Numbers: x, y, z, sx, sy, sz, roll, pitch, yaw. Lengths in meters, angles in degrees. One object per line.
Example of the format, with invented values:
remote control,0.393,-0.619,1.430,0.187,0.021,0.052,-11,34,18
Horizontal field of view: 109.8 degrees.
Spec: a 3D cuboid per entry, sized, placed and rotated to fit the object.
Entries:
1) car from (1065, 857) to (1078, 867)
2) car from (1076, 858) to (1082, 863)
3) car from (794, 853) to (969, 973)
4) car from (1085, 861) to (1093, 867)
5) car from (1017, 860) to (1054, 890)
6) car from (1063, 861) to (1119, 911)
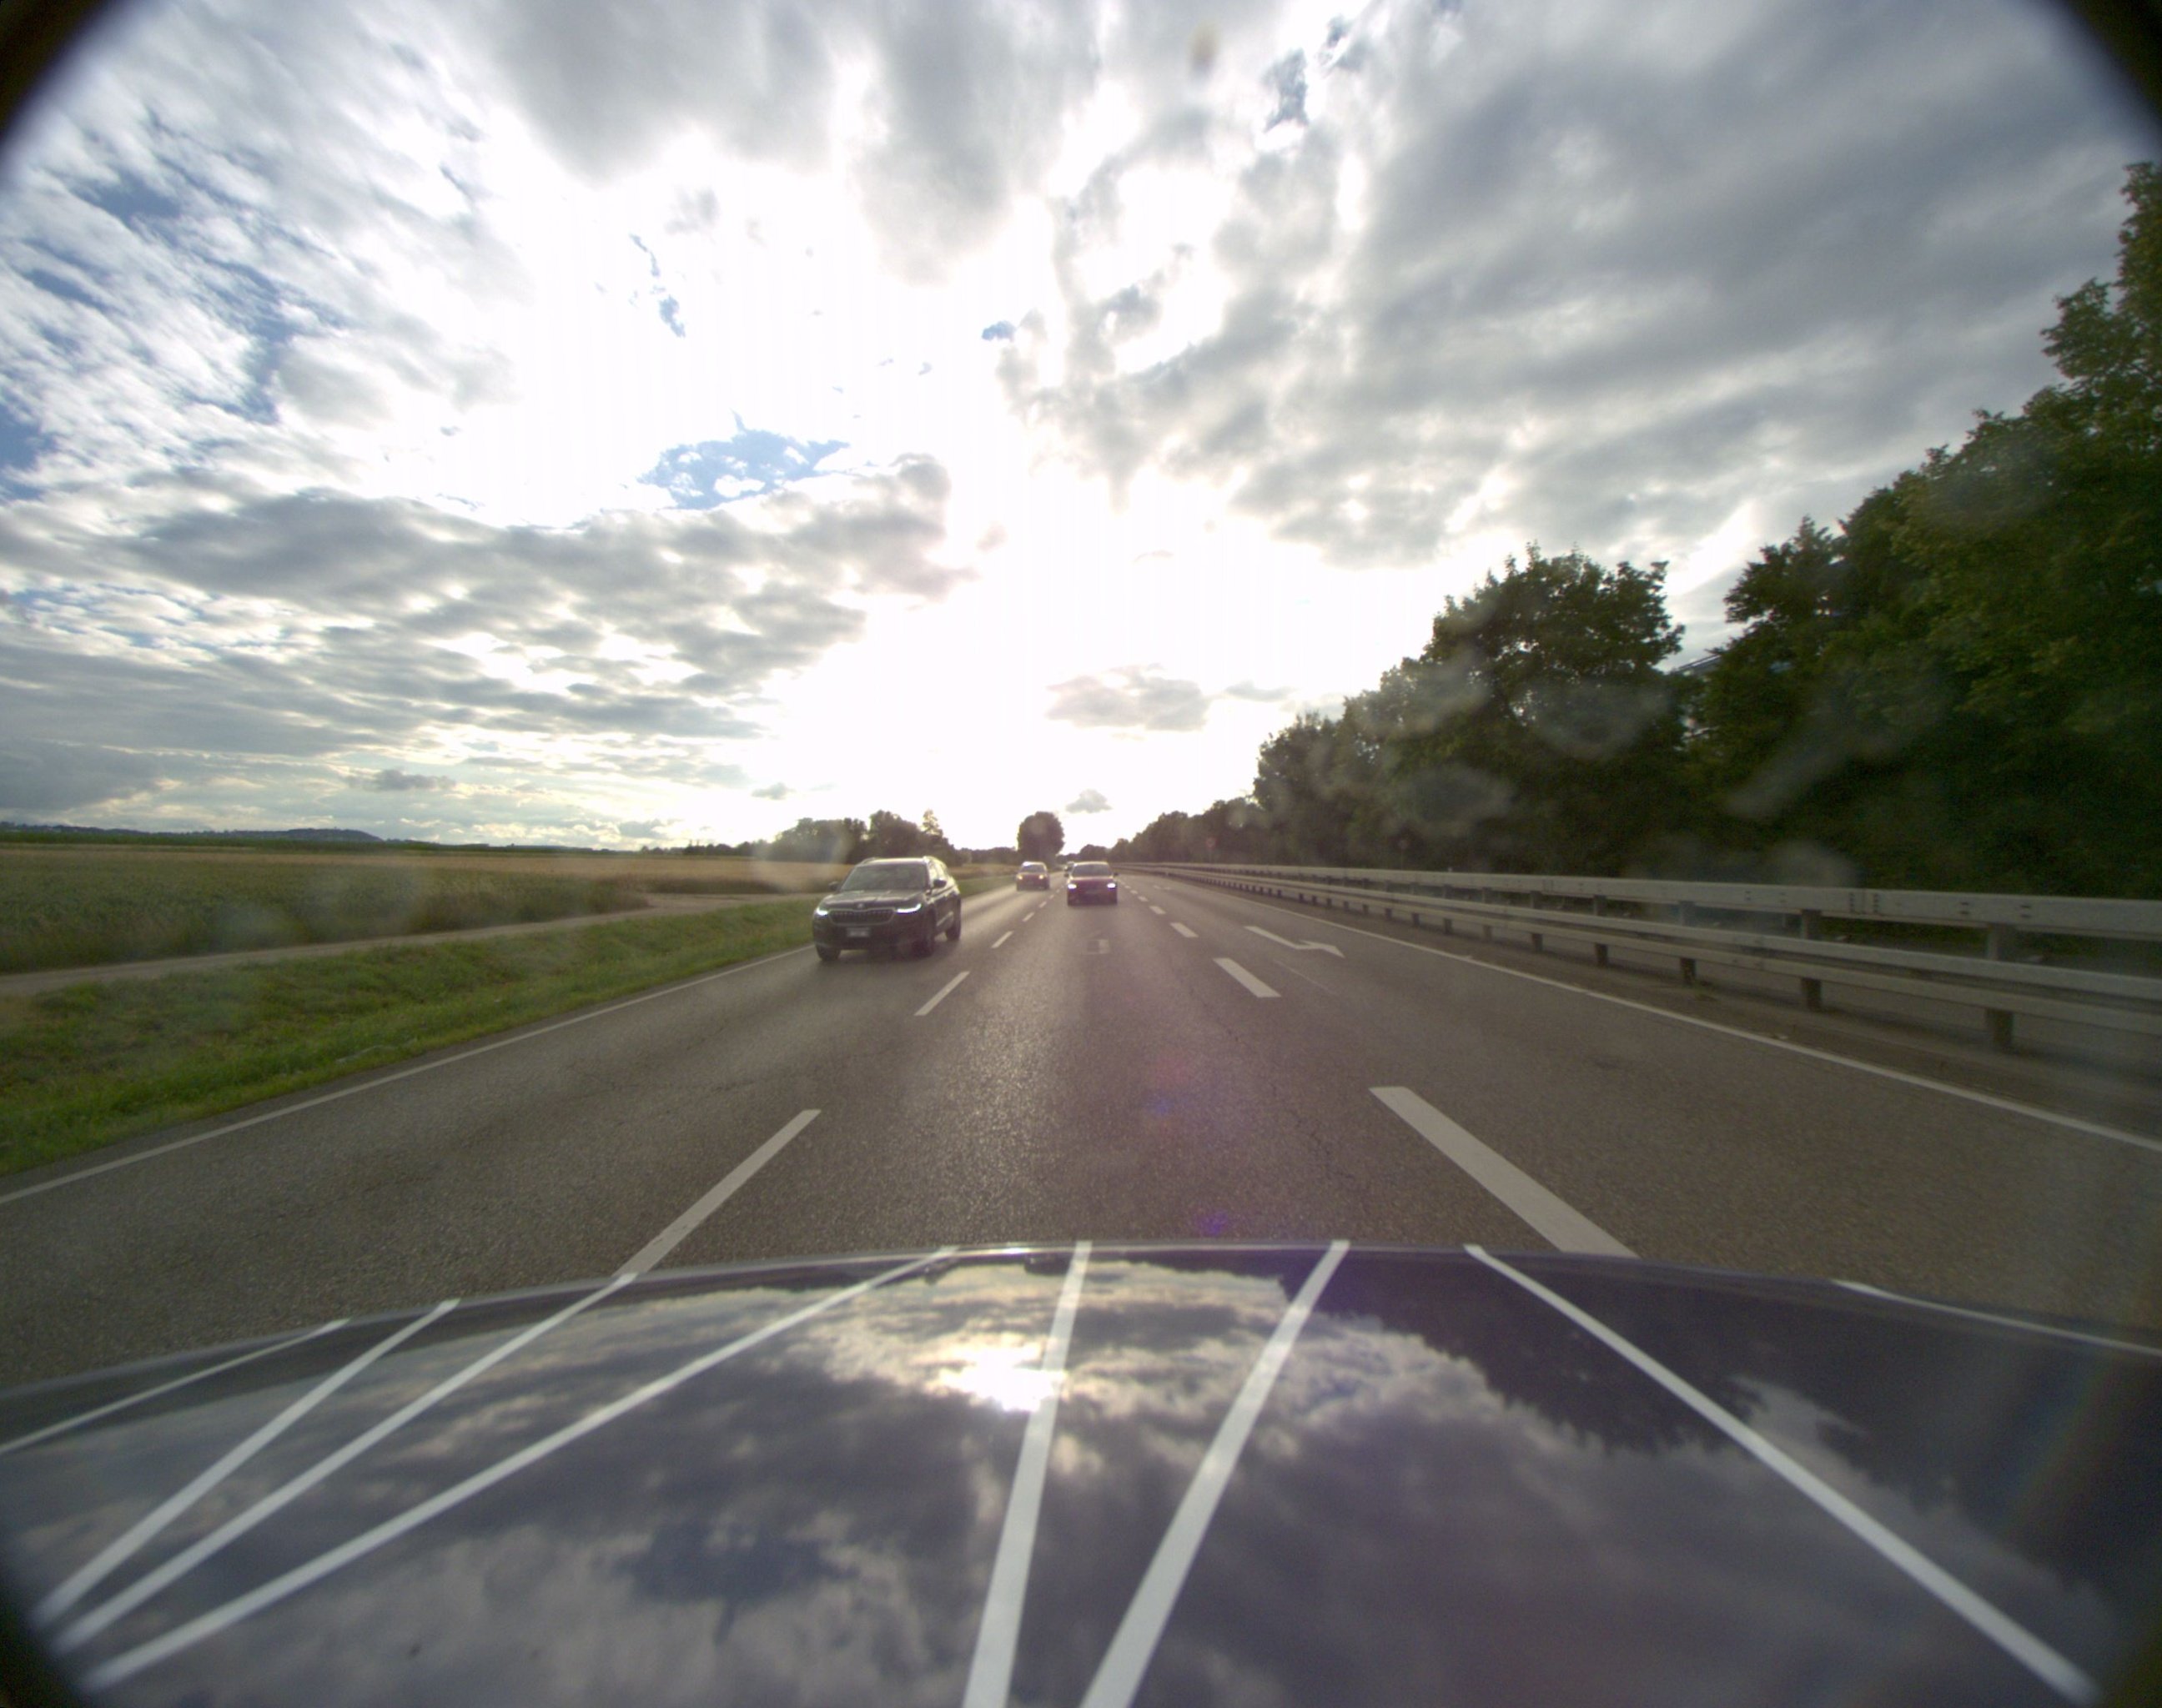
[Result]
car,-1.395,1.213,117.262,1.799,1.448,4.032,-2,0,1
car,-0.548,2.115,244.280,1.671,1.730,4.032,-2,0,1
car,-3.352,0.893,13.767,1.841,1.698,4.556,-2,1,1
car,1.969,2.521,189.580,1.712,1.448,4.060,-2,1,-3
car,-2.464,1.123,42.281,1.712,1.448,3.908,-2,1,1
car,0.361,1.030,26.093,1.712,1.448,4.061,-2,1,1
